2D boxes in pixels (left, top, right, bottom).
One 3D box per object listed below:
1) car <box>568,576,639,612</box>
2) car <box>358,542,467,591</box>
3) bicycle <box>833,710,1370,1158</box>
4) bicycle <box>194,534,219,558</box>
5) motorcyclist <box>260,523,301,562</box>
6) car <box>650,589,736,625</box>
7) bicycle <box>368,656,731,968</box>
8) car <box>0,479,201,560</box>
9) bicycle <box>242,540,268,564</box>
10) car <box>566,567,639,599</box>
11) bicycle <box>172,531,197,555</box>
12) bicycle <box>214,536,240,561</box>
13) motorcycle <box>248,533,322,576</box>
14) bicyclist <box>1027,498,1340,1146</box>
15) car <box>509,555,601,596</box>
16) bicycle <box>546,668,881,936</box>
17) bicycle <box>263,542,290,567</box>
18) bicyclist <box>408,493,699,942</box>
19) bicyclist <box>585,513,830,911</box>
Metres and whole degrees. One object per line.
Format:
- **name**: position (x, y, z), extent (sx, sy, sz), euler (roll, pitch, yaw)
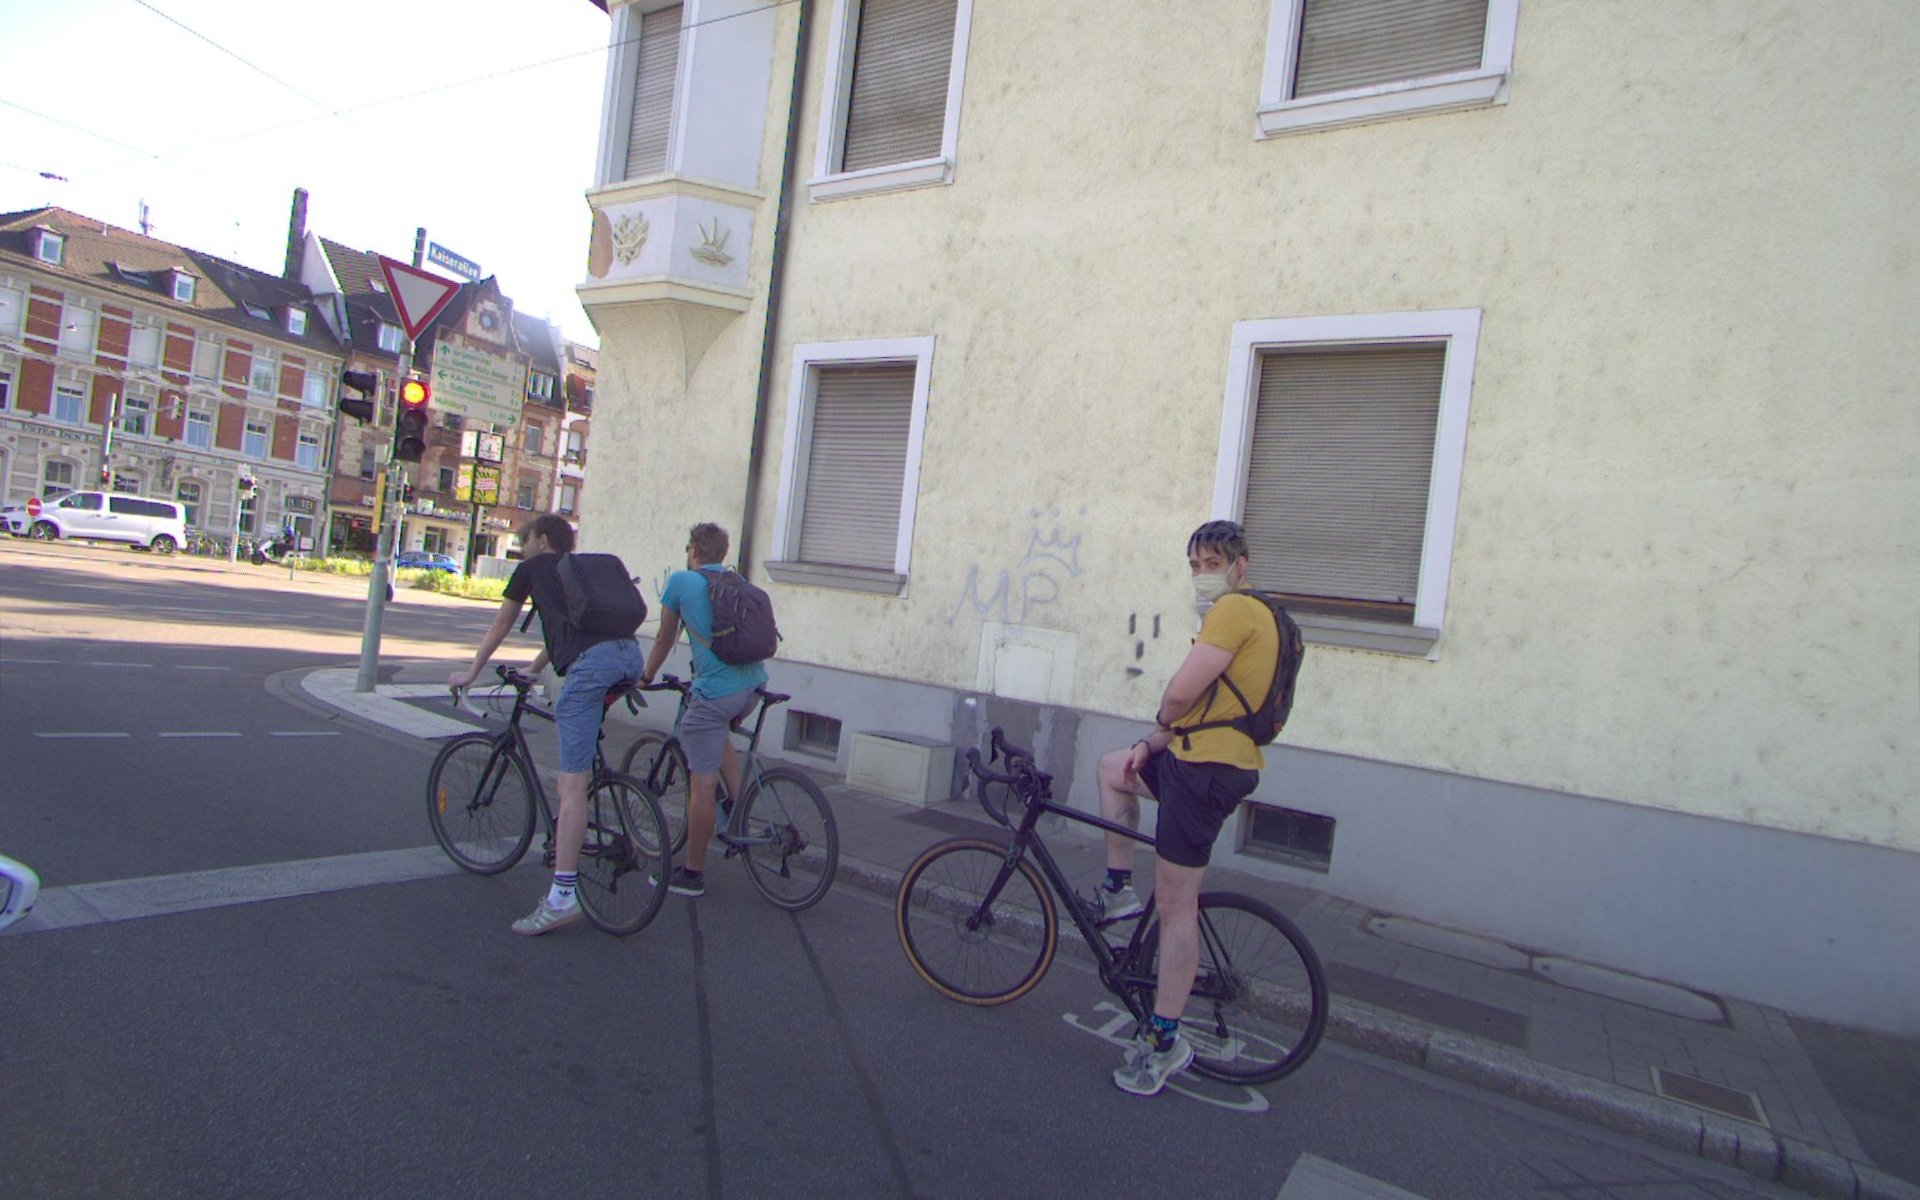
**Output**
- **car**: position (-21.130, -0.356, 59.749), extent (1.749, 1.636, 3.604), euler (6, -2, 30)
- **car**: position (-25.458, -1.547, 46.900), extent (1.775, 1.641, 3.994), euler (6, -2, 33)
- **bicycle**: position (0.528, 1.118, 3.793), extent (1.709, 1.119, 0.783), euler (7, -1, 18)
- **bicycle**: position (-34.766, -2.506, 46.401), extent (0.762, 0.979, 2.186), euler (8, -2, -39)
- **motorcyclist**: position (-26.217, -2.222, 38.813), extent (0.778, 1.315, 1.013), euler (6, -2, 43)
- **car**: position (-15.680, 0.448, 59.316), extent (1.774, 1.487, 4.866), euler (8, -1, 32)
- **bicycle**: position (-1.905, 0.868, 4.557), extent (1.753, 1.003, 0.482), euler (6, -1, 32)
- **car**: position (-29.351, -2.671, 34.164), extent (1.966, 1.876, 5.211), euler (7, -1, 29)
- **bicycle**: position (-33.620, -2.304, 47.969), extent (0.762, 1.019, 2.196), euler (8, -2, -39)
- **car**: position (-23.125, -1.082, 65.191), extent (1.842, 1.454, 3.985), euler (6, -2, 35)
- **bicycle**: position (-35.368, -2.607, 45.876), extent (0.762, 0.974, 2.186), euler (8, -2, -39)
- **bicycle**: position (-34.323, -2.420, 47.090), extent (0.762, 0.995, 2.186), euler (8, -2, -39)
- **motorcycle**: position (-26.129, -1.755, 38.964), extent (0.786, 1.349, 2.133), euler (6, -2, 42)
- **bicyclist**: position (0.830, 0.713, 3.663), extent (0.763, 1.990, 0.783), euler (7, 0, 18)
- **car**: position (-19.842, -1.184, 49.437), extent (1.569, 1.443, 3.876), euler (7, -1, 32)
- **bicycle**: position (-1.320, 0.970, 5.225), extent (1.753, 0.995, 0.504), euler (6, -1, 32)
- **bicycle**: position (-33.019, -2.200, 48.613), extent (0.789, 1.027, 2.186), euler (8, -2, -39)
- **bicyclist**: position (-1.835, 0.476, 4.547), extent (0.920, 1.787, 0.590), euler (6, -1, 32)
- **bicyclist**: position (-1.326, 0.535, 5.262), extent (0.960, 1.868, 0.504), euler (6, -1, 32)
